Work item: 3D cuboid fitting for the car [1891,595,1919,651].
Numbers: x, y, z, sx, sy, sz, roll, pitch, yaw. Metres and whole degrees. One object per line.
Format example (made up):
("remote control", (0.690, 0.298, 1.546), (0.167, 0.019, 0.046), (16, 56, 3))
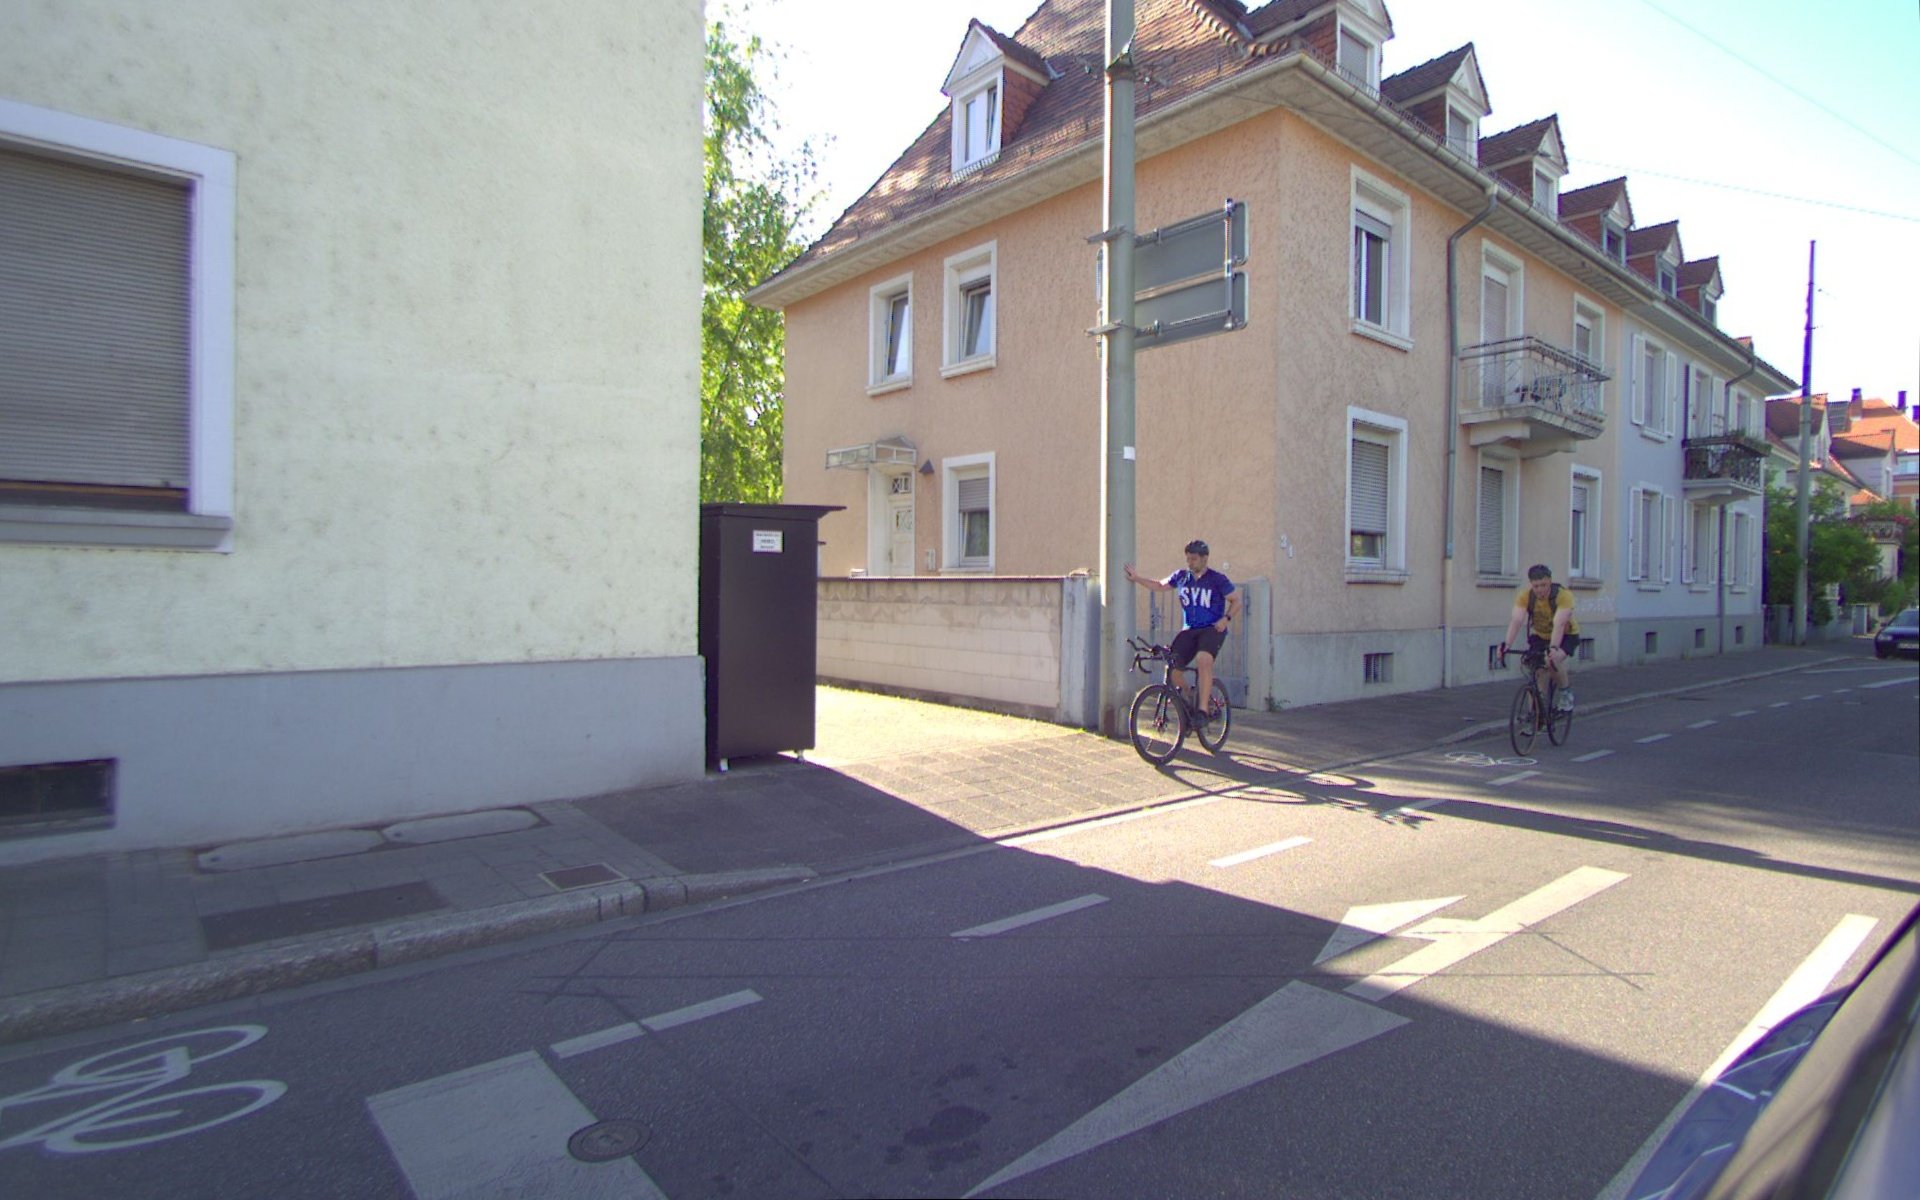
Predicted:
("car", (26.635, 0.608, 27.329), (3.932, 1.438, 1.845), (0, 1, -42))

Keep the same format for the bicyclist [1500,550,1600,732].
("bicyclist", (5.963, 0.387, 10.226), (0.939, 1.743, 0.582), (0, 1, -41))

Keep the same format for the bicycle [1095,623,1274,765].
("bicycle", (2.031, 0.784, 9.026), (1.689, 1.064, 0.595), (0, 6, -41))

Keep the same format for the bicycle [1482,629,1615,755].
("bicycle", (5.961, 0.879, 10.211), (1.778, 1.101, 0.611), (0, 1, -41))

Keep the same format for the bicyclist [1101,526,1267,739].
("bicyclist", (2.034, 0.249, 9.255), (0.838, 1.758, 1.072), (0, 6, -40))
